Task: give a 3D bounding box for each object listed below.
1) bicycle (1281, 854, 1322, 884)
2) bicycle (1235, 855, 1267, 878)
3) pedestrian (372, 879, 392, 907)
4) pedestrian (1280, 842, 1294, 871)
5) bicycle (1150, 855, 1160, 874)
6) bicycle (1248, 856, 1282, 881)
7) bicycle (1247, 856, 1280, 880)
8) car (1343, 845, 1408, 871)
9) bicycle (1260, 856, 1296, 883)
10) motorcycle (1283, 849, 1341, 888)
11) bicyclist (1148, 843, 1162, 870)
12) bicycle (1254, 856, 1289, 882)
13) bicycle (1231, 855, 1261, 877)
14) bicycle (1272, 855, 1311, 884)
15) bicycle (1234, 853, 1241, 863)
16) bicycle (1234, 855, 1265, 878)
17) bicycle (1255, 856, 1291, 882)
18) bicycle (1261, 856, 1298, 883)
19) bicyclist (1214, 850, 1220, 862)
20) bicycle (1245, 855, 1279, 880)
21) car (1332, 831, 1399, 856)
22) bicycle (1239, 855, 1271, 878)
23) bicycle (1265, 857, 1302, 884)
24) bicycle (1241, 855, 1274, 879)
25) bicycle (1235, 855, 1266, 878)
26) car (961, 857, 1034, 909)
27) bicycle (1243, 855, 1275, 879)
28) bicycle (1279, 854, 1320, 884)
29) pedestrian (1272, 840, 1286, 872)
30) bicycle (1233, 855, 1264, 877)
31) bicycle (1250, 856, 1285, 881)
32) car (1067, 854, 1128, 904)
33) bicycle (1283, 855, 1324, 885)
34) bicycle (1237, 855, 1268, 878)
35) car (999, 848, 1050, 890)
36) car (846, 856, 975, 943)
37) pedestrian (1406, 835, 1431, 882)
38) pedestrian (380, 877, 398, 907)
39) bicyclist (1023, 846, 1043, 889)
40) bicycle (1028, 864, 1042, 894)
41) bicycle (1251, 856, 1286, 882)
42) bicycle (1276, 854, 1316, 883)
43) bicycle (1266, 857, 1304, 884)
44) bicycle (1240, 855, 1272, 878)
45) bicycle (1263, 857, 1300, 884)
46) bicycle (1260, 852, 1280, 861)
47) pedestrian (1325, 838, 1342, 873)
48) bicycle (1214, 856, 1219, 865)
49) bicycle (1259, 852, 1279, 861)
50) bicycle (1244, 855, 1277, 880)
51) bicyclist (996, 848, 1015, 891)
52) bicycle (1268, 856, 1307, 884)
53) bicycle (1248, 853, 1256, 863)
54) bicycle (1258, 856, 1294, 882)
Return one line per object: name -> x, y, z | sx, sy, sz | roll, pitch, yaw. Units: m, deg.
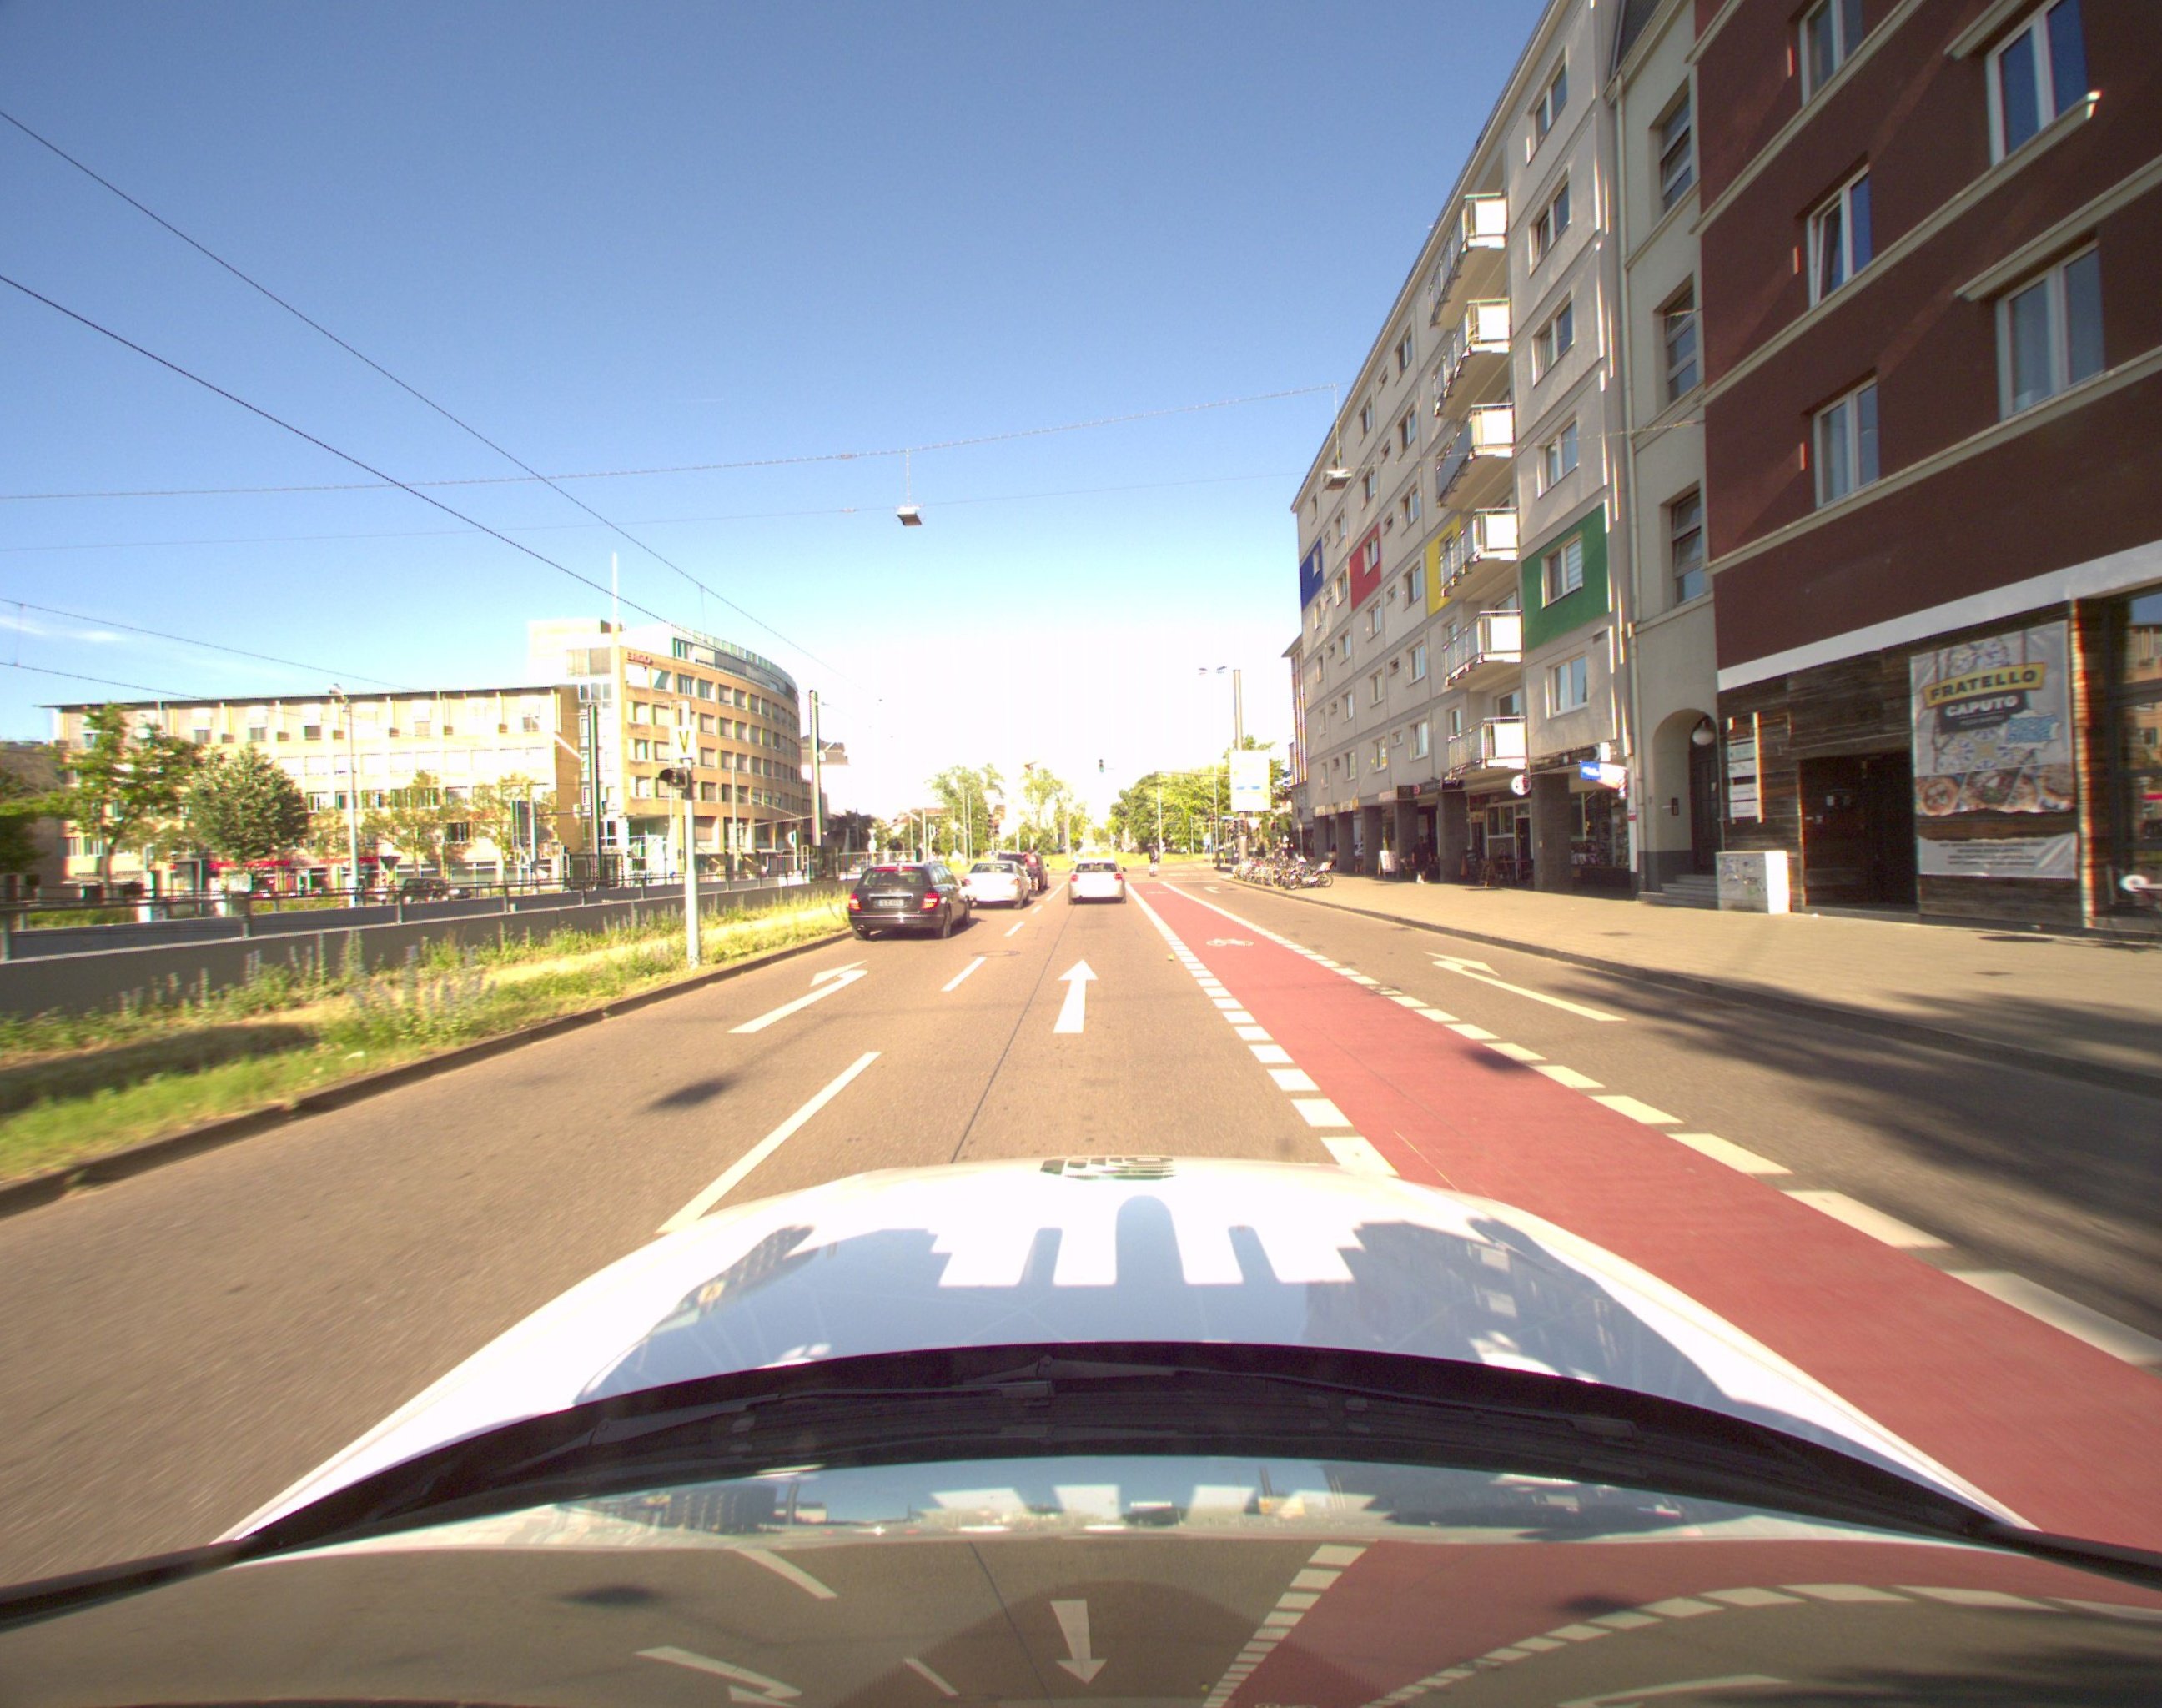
bicycle -> 8.449, 0.581, 31.239 | 1.459, 1.067, 0.257 | -3, -1, 3
bicycle -> 8.437, 0.613, 40.391 | 1.459, 1.067, 0.257 | -3, -1, 3
pedestrian -> -36.428, 2.026, 42.454 | 0.610, 1.428, 0.490 | 0, -1, 1
pedestrian -> 13.245, 0.177, 52.307 | 0.819, 1.856, 0.921 | 0, -1, 16
bicycle -> 4.279, 0.589, 47.164 | 0.497, 1.088, 1.998 | 0, 0, 2
bicycle -> 8.446, 0.672, 37.444 | 1.459, 1.067, 0.257 | -3, -1, 3
bicycle -> 8.455, 0.640, 37.762 | 1.459, 1.067, 0.257 | -3, -1, 3
car -> 22.734, 0.295, 63.019 | 4.344, 2.014, 1.974 | 0, 0, 2
bicycle -> 8.482, 0.670, 35.078 | 1.459, 1.067, 0.257 | -3, -1, 3
motorcycle -> 8.341, 0.518, 29.426 | 1.846, 1.301, 0.653 | -3, -1, 4
bicyclist -> 4.291, 0.143, 47.192 | 0.782, 1.531, 0.895 | 0, 0, 1
bicycle -> 8.442, 0.664, 36.133 | 1.459, 1.067, 0.257 | -3, -1, 3
bicycle -> 8.491, 0.610, 41.854 | 1.459, 1.067, 0.257 | -3, -1, 3
bicycle -> 8.392, 0.613, 32.495 | 1.459, 1.067, 0.257 | -3, -1, 3
bicycle -> 15.966, 0.362, 83.153 | 0.415, 1.008, 1.945 | 0, 0, 1
bicycle -> 8.517, 0.618, 41.124 | 1.459, 1.067, 0.257 | -3, -1, 3
bicycle -> 8.442, 0.645, 35.791 | 1.459, 1.067, 0.257 | -3, -1, 3
bicycle -> 8.466, 0.671, 34.734 | 1.459, 1.067, 0.257 | -3, -1, 3
bicyclist -> 15.347, 0.250, 92.154 | 0.614, 1.380, 0.687 | 0, -1, 3
bicycle -> 8.466, 0.639, 38.076 | 1.459, 1.067, 0.257 | -3, -1, 3
car -> 23.004, -0.833, 65.929 | 4.710, 2.014, 2.260 | 0, 0, 2
bicycle -> 8.475, 0.608, 39.671 | 1.459, 1.067, 0.257 | -3, -1, 3
bicycle -> 8.459, 0.677, 34.032 | 1.459, 1.067, 0.257 | -3, -1, 3
bicycle -> 8.460, 0.611, 39.046 | 1.459, 1.067, 0.257 | -3, -1, 3
bicycle -> 8.484, 0.625, 40.759 | 1.459, 1.067, 0.257 | -3, -1, 3
car -> -2.412, 0.803, 24.377 | 1.638, 1.421, 4.001 | -1, 0, 1
bicycle -> 8.460, 0.625, 38.725 | 1.459, 1.067, 0.257 | -3, -1, 3
bicycle -> 8.458, 0.585, 31.592 | 1.459, 1.067, 0.257 | -3, -1, 3
pedestrian -> 12.290, 0.120, 50.496 | 0.786, 2.014, 0.872 | 0, -1, 8
bicycle -> 8.517, 0.608, 41.461 | 1.459, 1.067, 0.257 | -3, -1, 3
bicycle -> 8.473, 0.664, 37.017 | 1.459, 1.067, 0.257 | -3, -1, 3
car -> 0.560, 0.734, 26.281 | 1.791, 1.415, 4.002 | -2, 0, 2
bicycle -> 8.432, 0.591, 30.868 | 1.459, 1.067, 0.257 | -3, -1, 3
bicycle -> 8.432, 0.619, 40.029 | 1.459, 1.067, 0.257 | -3, -1, 3
car -> -2.324, 0.577, 34.455 | 1.698, 1.622, 4.001 | -2, 0, 1
car -> -3.255, 0.802, 16.404 | 1.721, 1.470, 4.408 | -1, 0, -1
pedestrian -> 11.804, 0.146, 28.492 | 0.553, 1.582, 0.575 | -4, -1, 1
pedestrian -> -35.786, 1.964, 42.120 | 0.441, 1.531, 0.568 | 0, -1, 1
bicyclist -> -1.776, 0.486, 30.219 | 0.616, 1.571, 0.684 | -2, 0, -10
bicycle -> -1.722, 0.921, 30.200 | 0.338, 1.056, 1.773 | -2, 0, -8
bicycle -> 8.430, 0.666, 36.560 | 1.459, 1.067, 0.257 | -3, -1, 3
bicycle -> 8.469, 0.577, 32.067 | 1.459, 1.067, 0.257 | -3, -1, 3
bicycle -> 8.450, 0.674, 33.687 | 1.459, 1.067, 0.257 | -3, -1, 3
bicycle -> 8.447, 0.610, 39.342 | 1.459, 1.067, 0.257 | -3, -1, 3
bicycle -> 8.464, 0.686, 34.355 | 1.459, 1.067, 0.257 | -3, -1, 3
bicycle -> 22.873, 0.282, 98.654 | 2.297, 1.068, 0.559 | 0, -1, 24
pedestrian -> 14.792, 0.085, 47.655 | 0.838, 2.014, 0.892 | 0, -1, 11
bicycle -> 15.340, 0.733, 92.217 | 0.350, 0.958, 1.574 | 0, 0, 3
bicycle -> 22.601, 0.283, 98.085 | 2.297, 1.068, 0.559 | 0, -1, 24
bicycle -> 8.462, 0.637, 38.404 | 1.459, 1.067, 0.257 | -3, -1, 3
bicyclist -> -2.802, 0.555, 30.161 | 0.614, 1.572, 0.687 | 0, -1, 3
bicycle -> 8.438, 0.651, 33.315 | 1.459, 1.067, 0.257 | -3, -1, 3
bicycle -> 17.272, 0.372, 82.080 | 0.415, 1.008, 1.945 | 0, 0, 1
bicycle -> 8.496, 0.648, 35.420 | 1.459, 1.067, 0.257 | -3, -1, 3
